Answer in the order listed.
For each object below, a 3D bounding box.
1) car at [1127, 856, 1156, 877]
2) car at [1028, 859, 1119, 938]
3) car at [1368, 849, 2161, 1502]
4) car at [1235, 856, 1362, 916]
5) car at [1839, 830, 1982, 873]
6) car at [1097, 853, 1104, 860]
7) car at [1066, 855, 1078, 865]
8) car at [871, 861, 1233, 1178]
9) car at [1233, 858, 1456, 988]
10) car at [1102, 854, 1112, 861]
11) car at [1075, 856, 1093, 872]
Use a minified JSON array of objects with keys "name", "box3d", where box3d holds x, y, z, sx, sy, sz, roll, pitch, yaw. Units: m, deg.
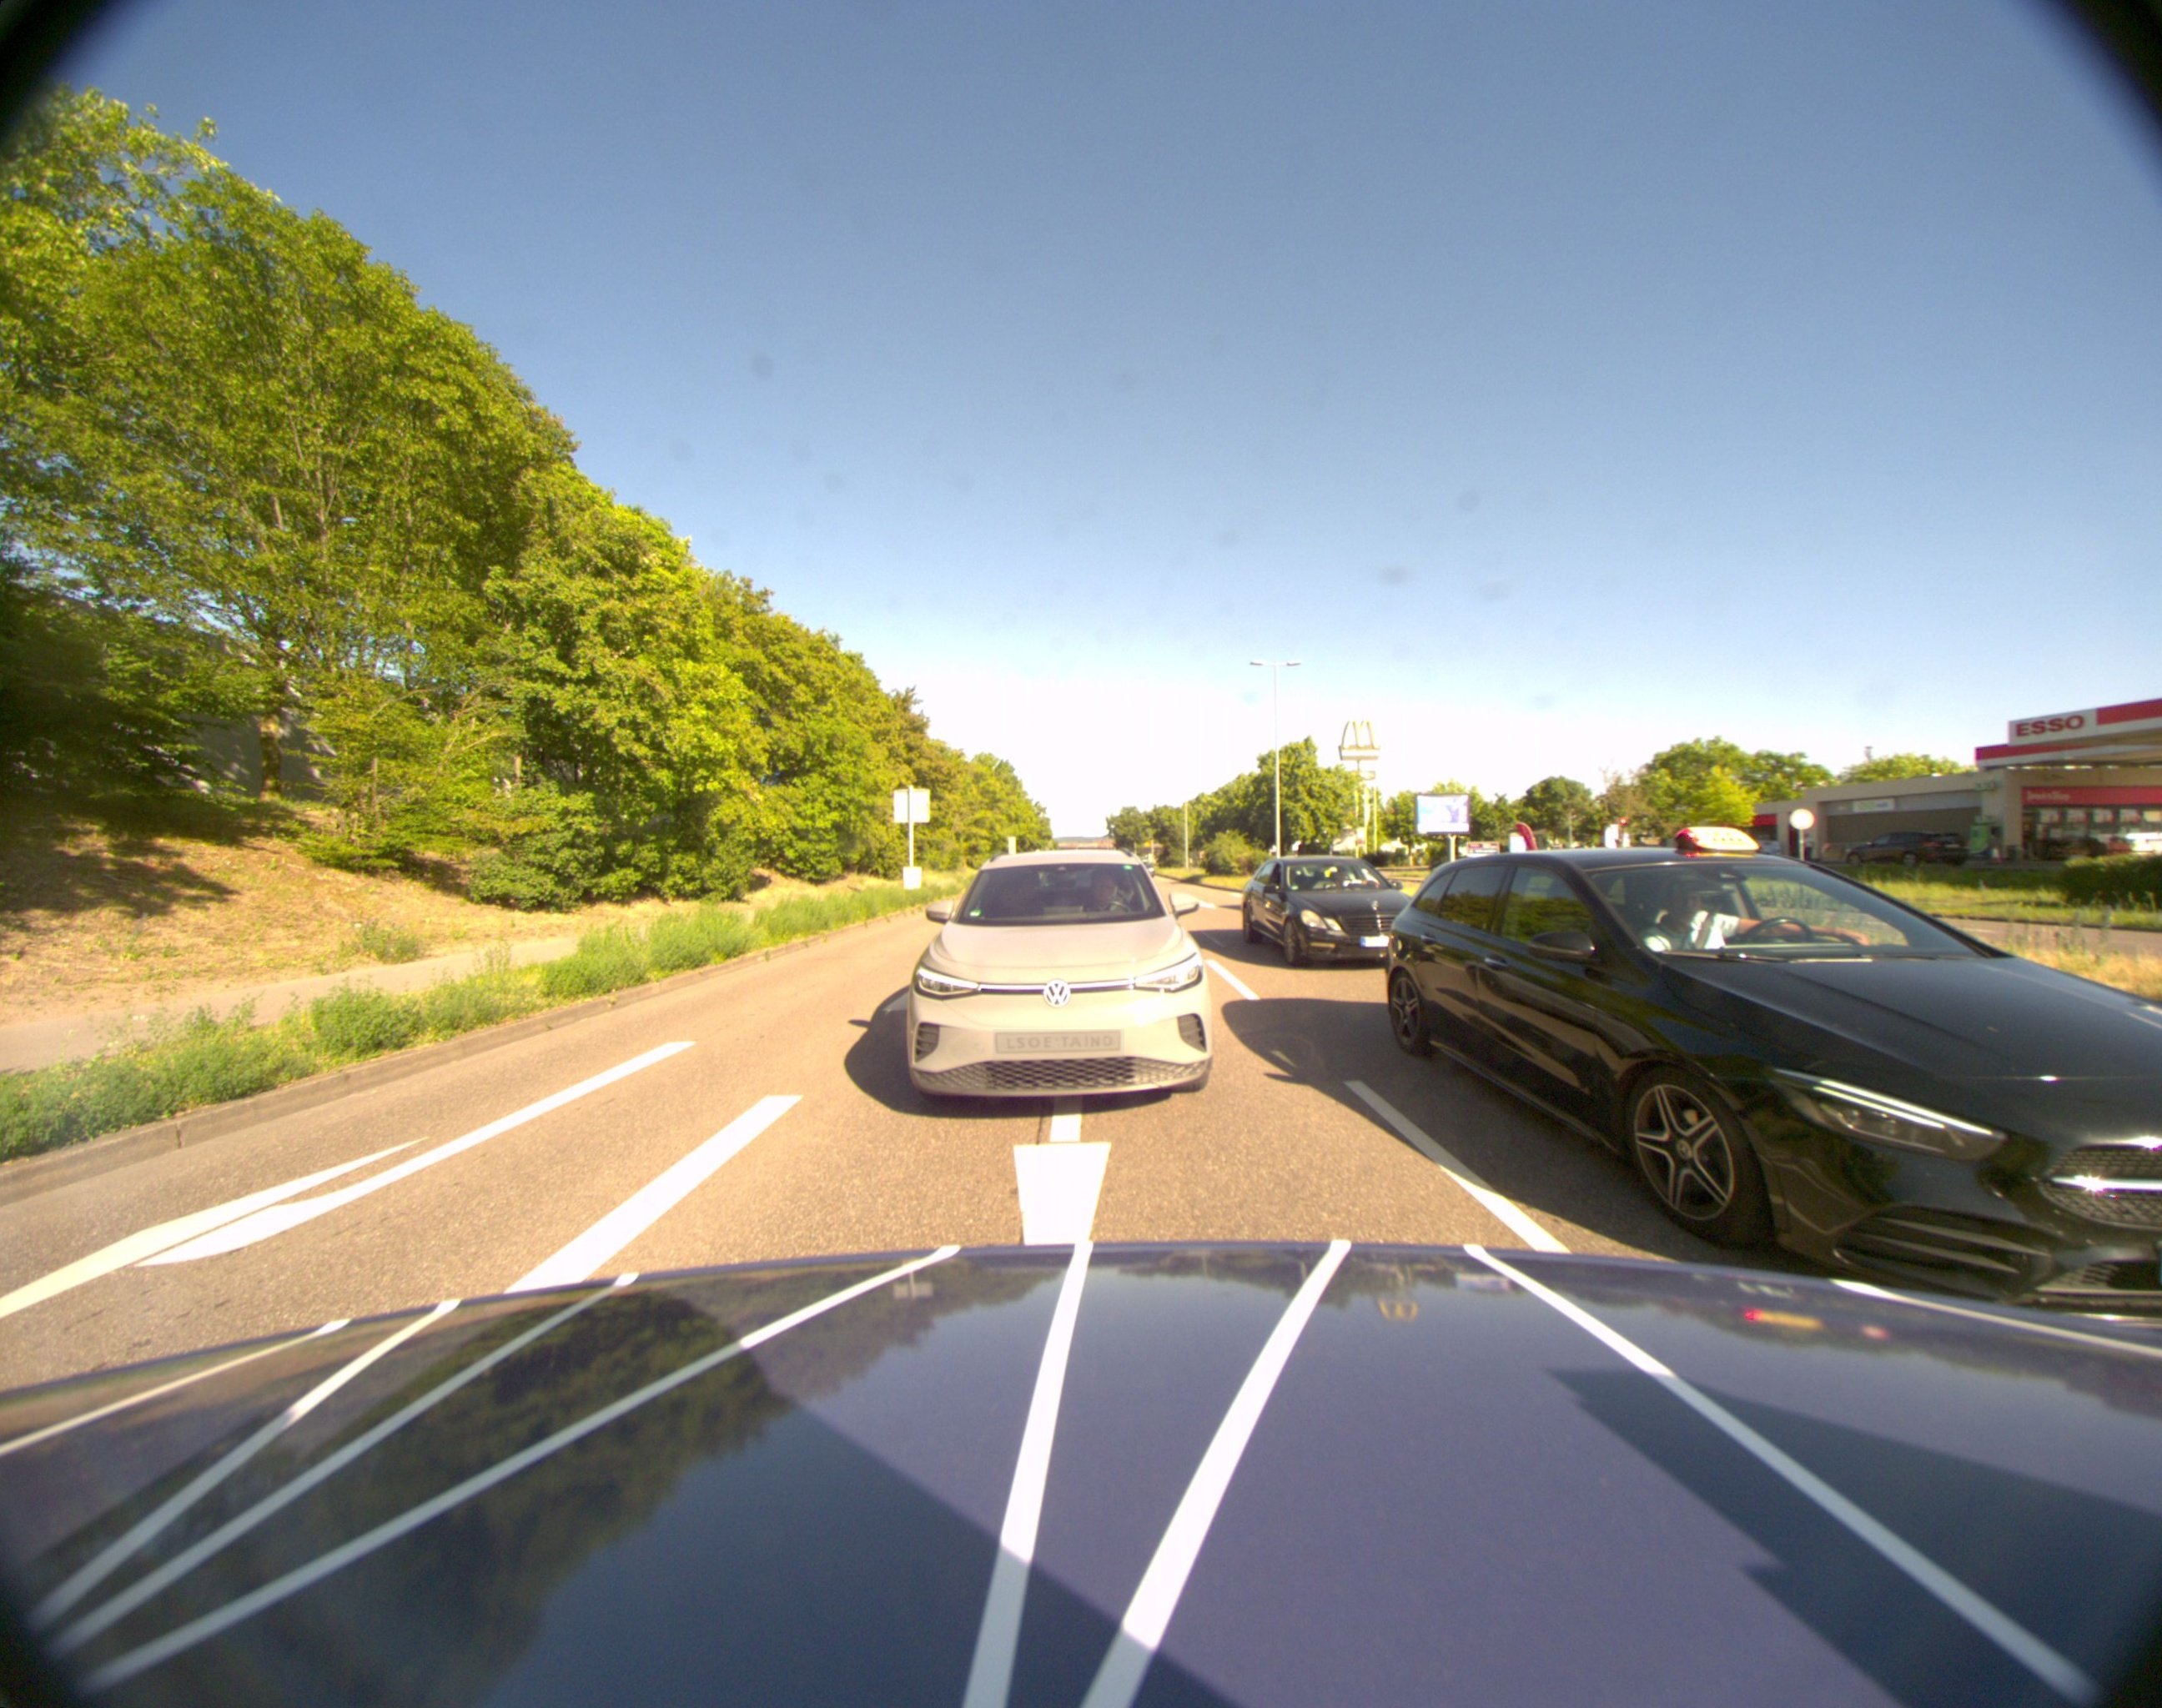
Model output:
[{"name":"car","box3d":[4.490,0.881,56.805,1.862,1.472,4.403,-1,0,1]},{"name":"car","box3d":[-0.122,0.898,16.958,1.765,1.503,3.760,-2,0,1]},{"name":"car","box3d":[3.157,0.809,3.982,1.804,1.616,4.188,-1,0,2]},{"name":"car","box3d":[5.785,0.801,20.823,1.863,1.421,4.401,-1,0,-5]},{"name":"car","box3d":[37.002,-0.120,34.085,1.998,1.759,4.118,-1,0,2]},{"name":"car","box3d":[4.975,0.601,193.890,1.862,1.578,4.403,-1,0,1]},{"name":"car","box3d":[-1.541,1.019,126.131,1.862,1.578,4.403,-1,0,1]},{"name":"car","box3d":[-0.126,0.898,5.983,1.871,1.588,3.932,-2,0,1]},{"name":"car","box3d":[3.637,0.850,11.429,1.862,1.515,4.403,-1,0,1]},{"name":"car","box3d":[5.463,0.731,159.799,1.862,1.578,4.403,-1,0,1]},{"name":"car","box3d":[0.398,1.271,96.712,2.289,1.863,5.268,-1,0,1]}]
